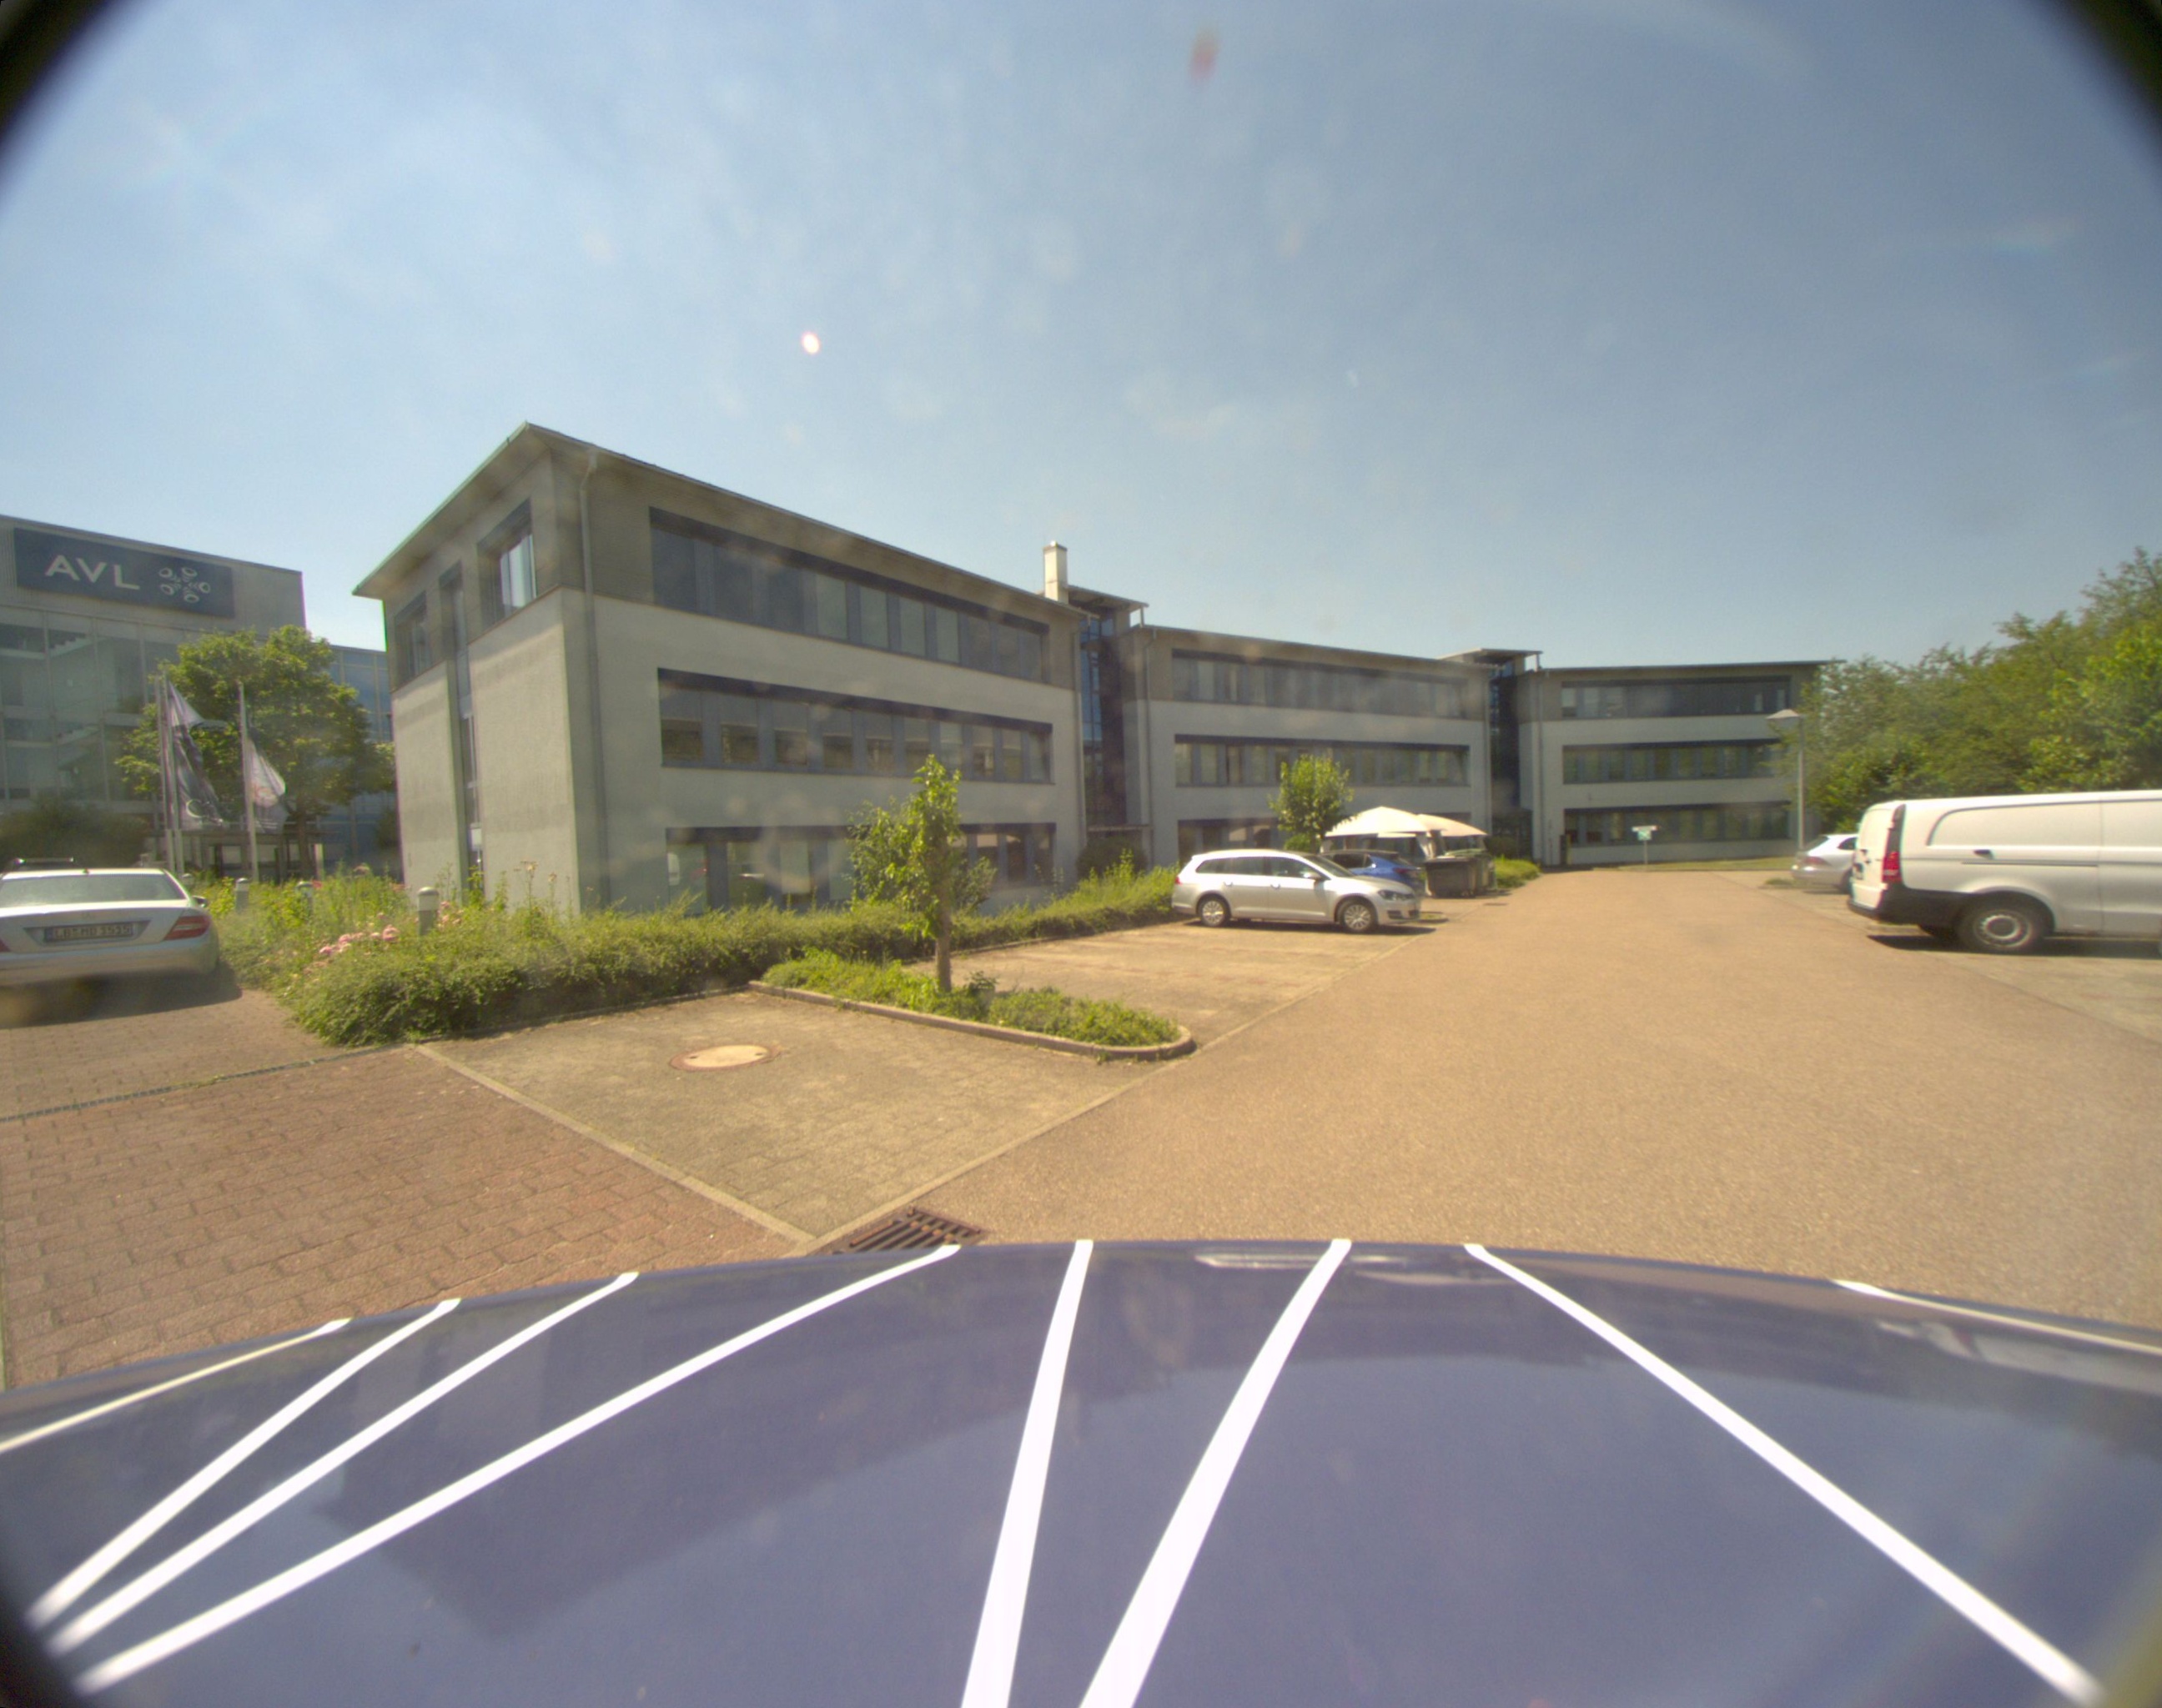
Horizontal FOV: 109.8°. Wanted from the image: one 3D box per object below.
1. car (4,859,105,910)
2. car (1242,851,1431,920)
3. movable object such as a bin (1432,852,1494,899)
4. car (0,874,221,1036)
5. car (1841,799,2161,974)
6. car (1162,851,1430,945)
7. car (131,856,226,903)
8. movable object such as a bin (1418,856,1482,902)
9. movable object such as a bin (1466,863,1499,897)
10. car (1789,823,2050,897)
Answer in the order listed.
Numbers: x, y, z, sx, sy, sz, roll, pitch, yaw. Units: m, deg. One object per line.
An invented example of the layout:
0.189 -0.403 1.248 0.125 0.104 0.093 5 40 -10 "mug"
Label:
-33.413 0.965 24.713 3.989 1.510 1.753 -1 1 34 "car"
5.823 0.653 17.461 3.816 1.384 1.655 0 2 34 "car"
10.918 0.599 21.733 1.361 1.288 1.045 -1 1 40 "movable object such as a bin"
-11.163 0.979 8.431 3.706 1.428 1.733 -1 1 36 "car"
12.181 0.323 8.785 4.508 1.871 1.833 -1 1 34 "car"
3.984 0.718 14.361 4.507 1.489 1.833 0 2 34 "car"
-32.312 0.892 27.190 3.989 1.510 1.753 -1 1 34 "car"
10.175 0.675 20.935 1.361 1.182 0.999 -1 1 40 "movable object such as a bin"
11.757 0.760 22.241 0.689 0.944 0.723 -1 1 40 "movable object such as a bin"
19.086 0.148 17.561 3.755 1.549 1.664 -1 1 34 "car"
